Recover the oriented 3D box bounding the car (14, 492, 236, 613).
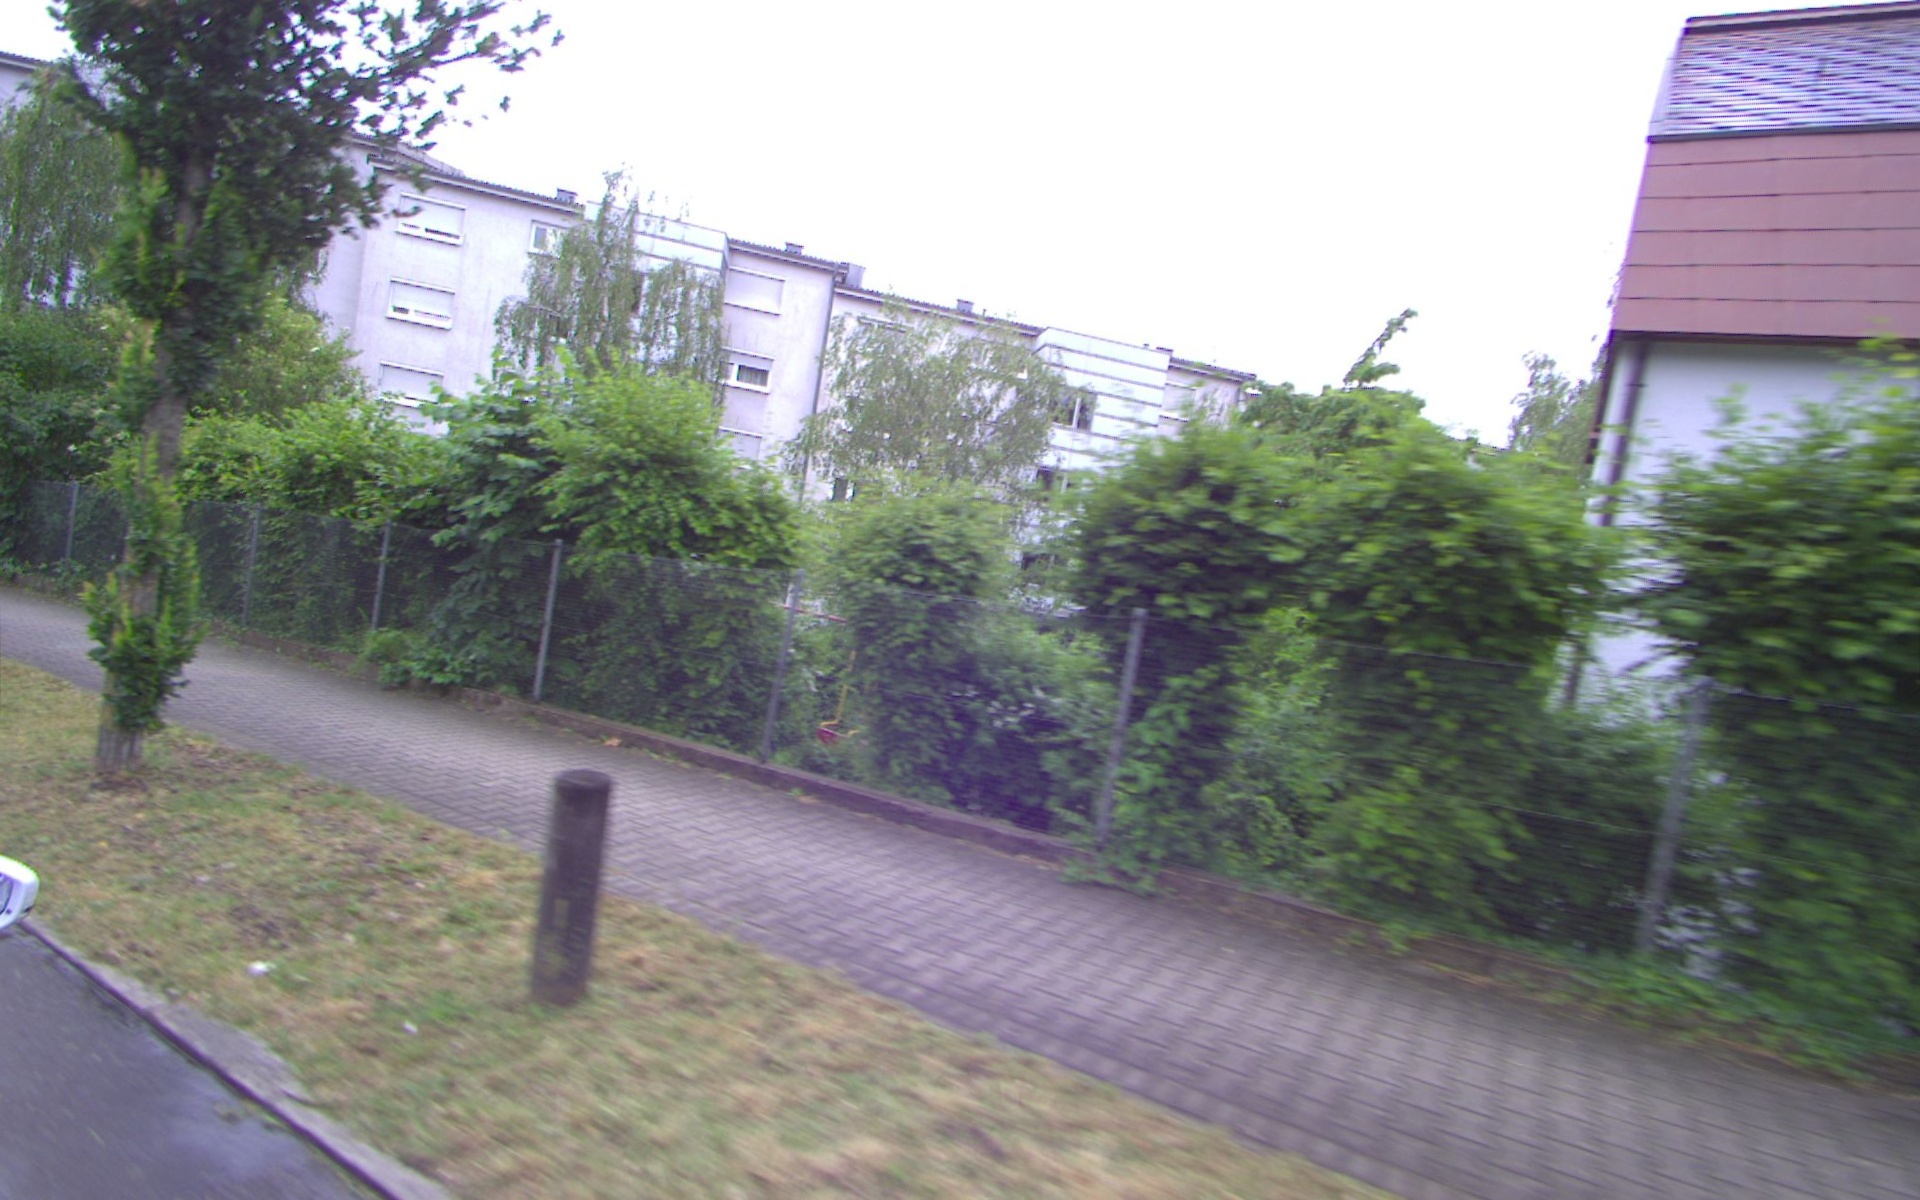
[{"bbox_3d":[-14.351,-0.831,17.249,3.932,1.450,1.508,8,-3,30],"label":"car"}]
